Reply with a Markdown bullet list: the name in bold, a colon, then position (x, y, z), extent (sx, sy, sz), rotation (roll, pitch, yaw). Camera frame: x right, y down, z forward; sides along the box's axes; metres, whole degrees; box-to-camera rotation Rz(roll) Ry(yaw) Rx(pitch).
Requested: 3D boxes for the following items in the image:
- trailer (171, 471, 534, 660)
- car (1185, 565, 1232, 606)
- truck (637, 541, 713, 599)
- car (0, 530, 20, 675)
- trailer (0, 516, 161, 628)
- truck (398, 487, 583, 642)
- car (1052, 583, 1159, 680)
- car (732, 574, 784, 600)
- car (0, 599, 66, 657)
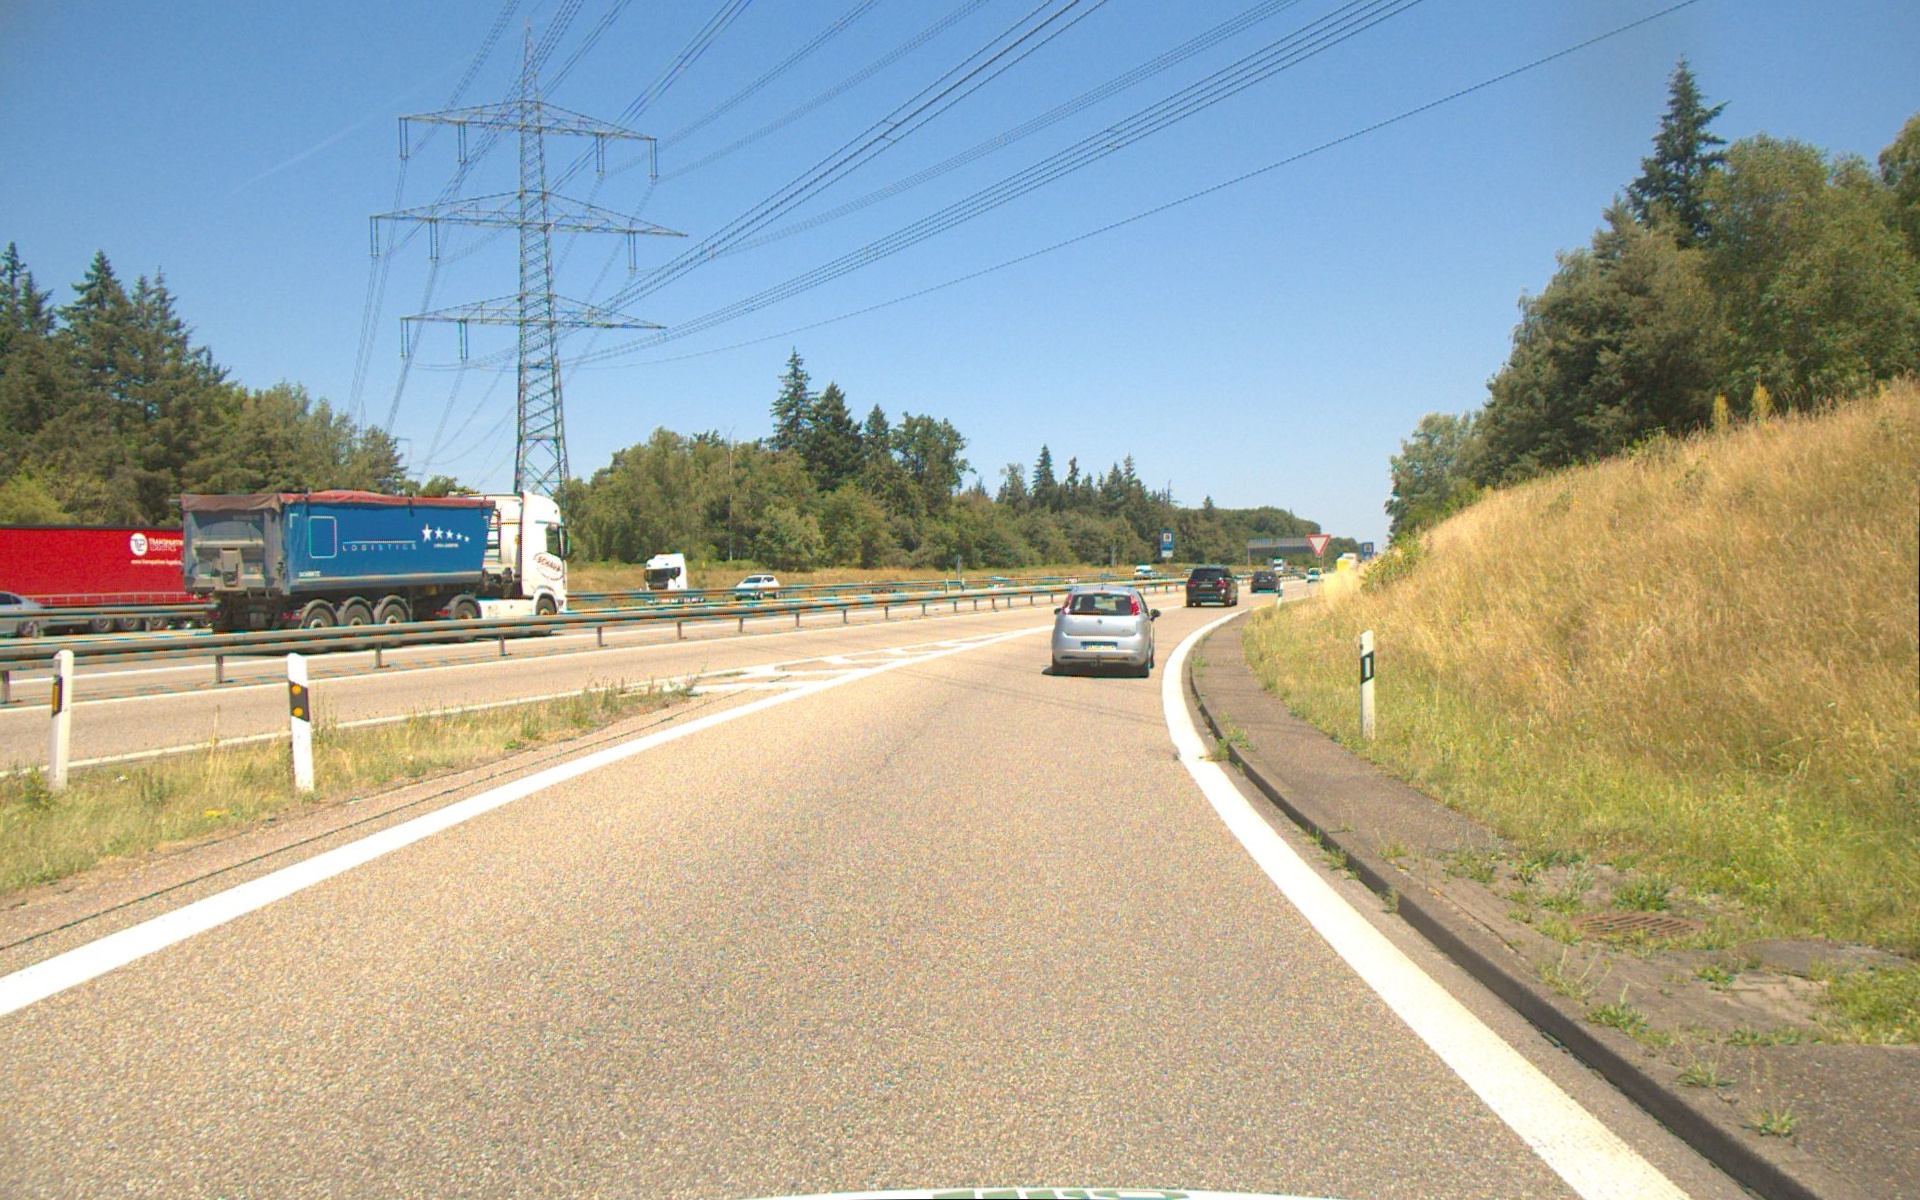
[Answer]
- **trailer**: position (-13.828, -0.797, 38.982), extent (2.712, 3.873, 9.893), rotation (-1, 1, 16)
- **car**: position (10.809, -0.606, 71.776), extent (1.670, 1.705, 3.400), rotation (-1, -1, 14)
- **truck**: position (-22.663, -2.346, 132.059), extent (2.800, 4.421, 7.534), rotation (-1, -1, 18)
- **car**: position (-21.068, 0.042, 30.389), extent (2.191, 2.882, 7.058), rotation (-1, -1, 17)
- **trailer**: position (-34.249, -0.974, 57.834), extent (2.488, 3.863, 13.750), rotation (-1, 2, 18)
- **truck**: position (-12.408, -0.925, 44.088), extent (2.698, 3.873, 4.625), rotation (-1, 1, 16)
- **car**: position (2.521, 0.493, 28.516), extent (1.670, 1.507, 3.400), rotation (2, 1, 5)
- **car**: position (-13.714, -0.875, 112.403), extent (1.734, 1.713, 4.828), rotation (-1, -1, 16)
- **car**: position (-28.891, 0.827, 48.466), extent (1.735, 1.713, 4.826), rotation (-1, -1, 20)
